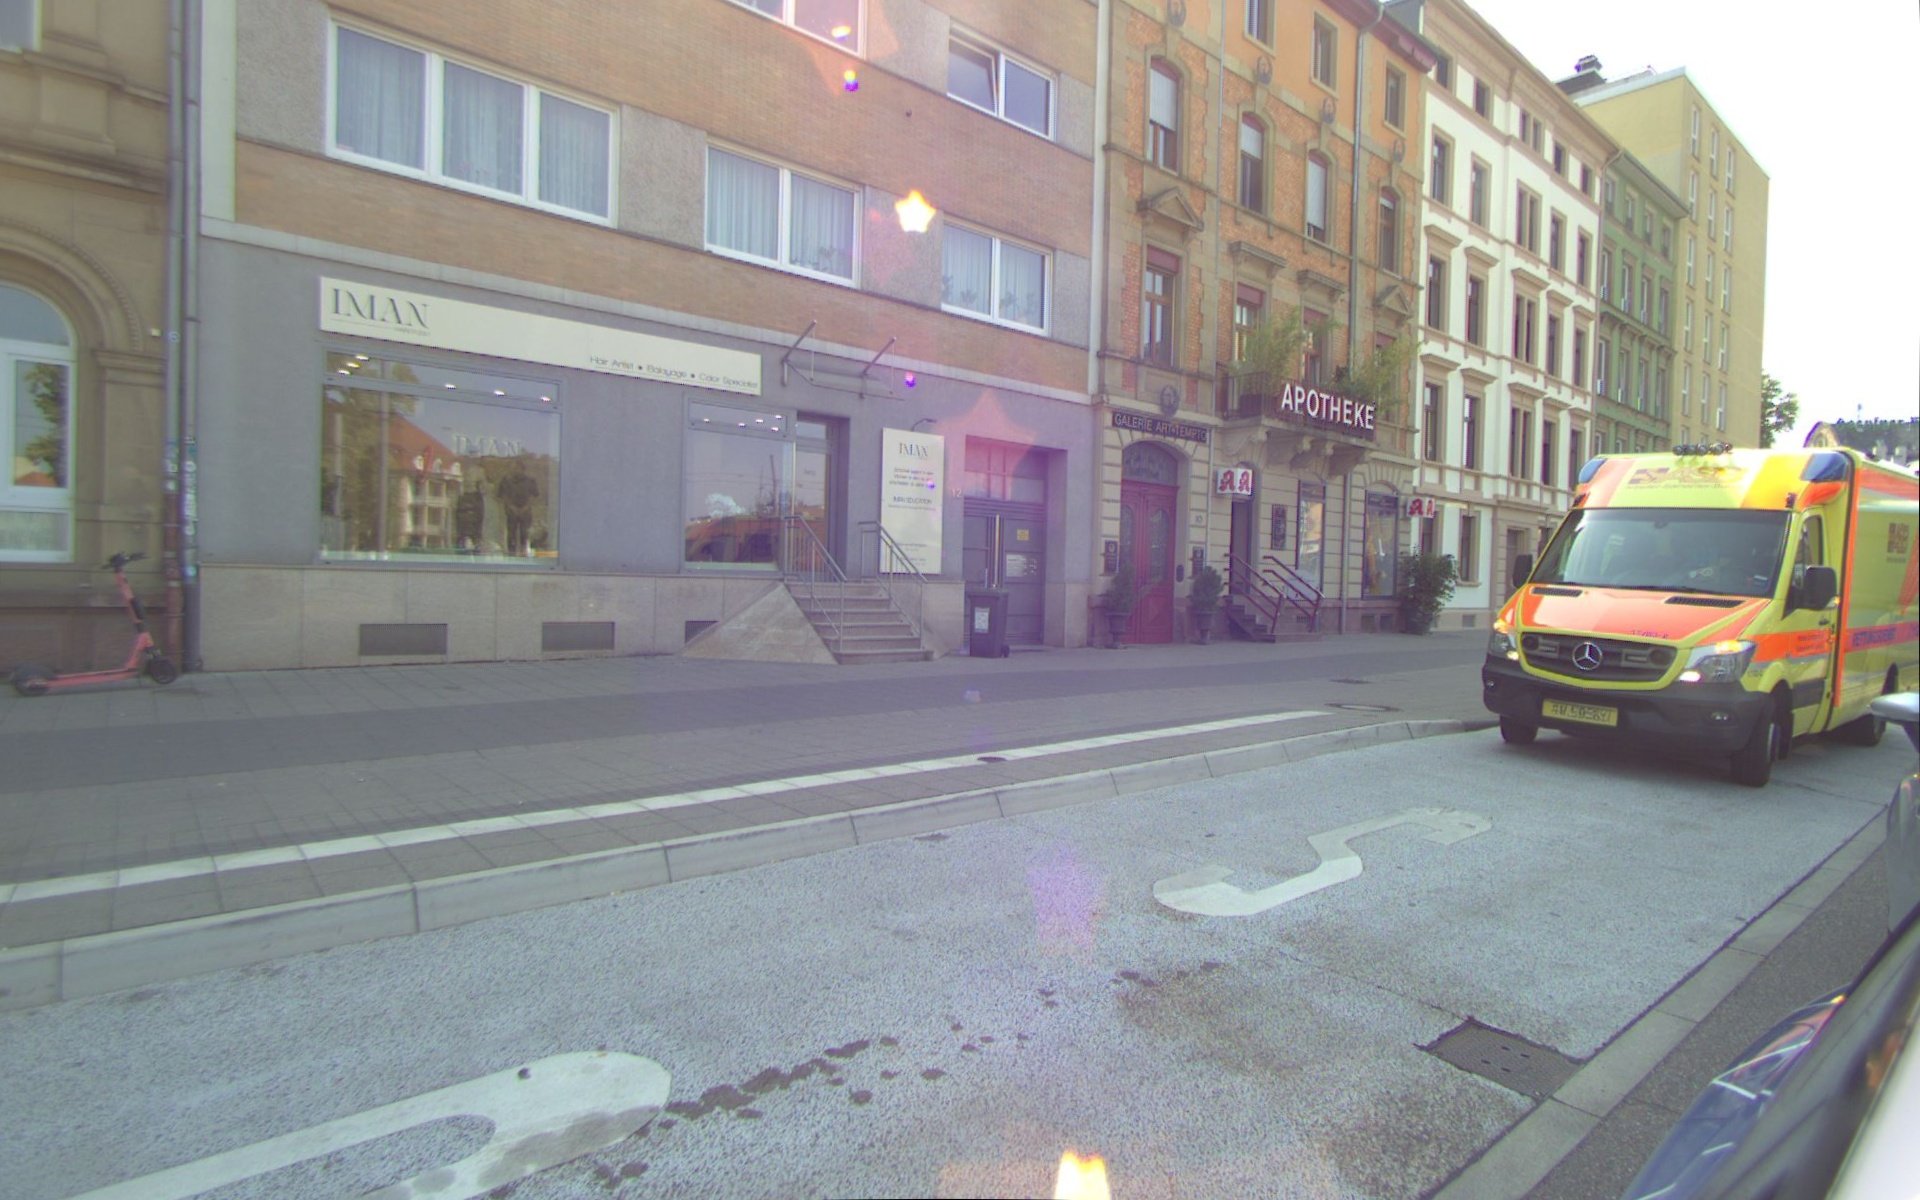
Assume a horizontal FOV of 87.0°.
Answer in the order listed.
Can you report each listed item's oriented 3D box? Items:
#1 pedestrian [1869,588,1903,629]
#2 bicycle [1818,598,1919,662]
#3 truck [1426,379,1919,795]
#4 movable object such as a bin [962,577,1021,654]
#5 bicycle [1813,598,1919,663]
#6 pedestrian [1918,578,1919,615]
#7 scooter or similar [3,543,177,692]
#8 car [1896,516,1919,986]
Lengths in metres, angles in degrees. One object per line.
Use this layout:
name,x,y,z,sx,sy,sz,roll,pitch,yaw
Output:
pedestrian,41.255,0.356,45.105,0.781,1.780,0.690,2,2,-5
bicycle,18.312,0.574,20.129,0.427,1.219,1.841,1,0,-39
truck,7.240,-0.169,9.647,6.221,2.803,2.336,0,4,-38
movable object such as a bin,0.493,0.226,15.666,0.640,1.118,0.723,3,2,24
bicycle,17.975,0.573,19.864,0.427,1.219,1.841,1,0,-39
pedestrian,42.712,-0.142,44.366,0.780,1.648,0.647,2,2,-11
scooter or similar,-7.649,0.132,8.917,0.476,1.227,1.124,3,2,44
car,5.298,0.533,4.111,3.929,1.608,1.728,0,1,-40
